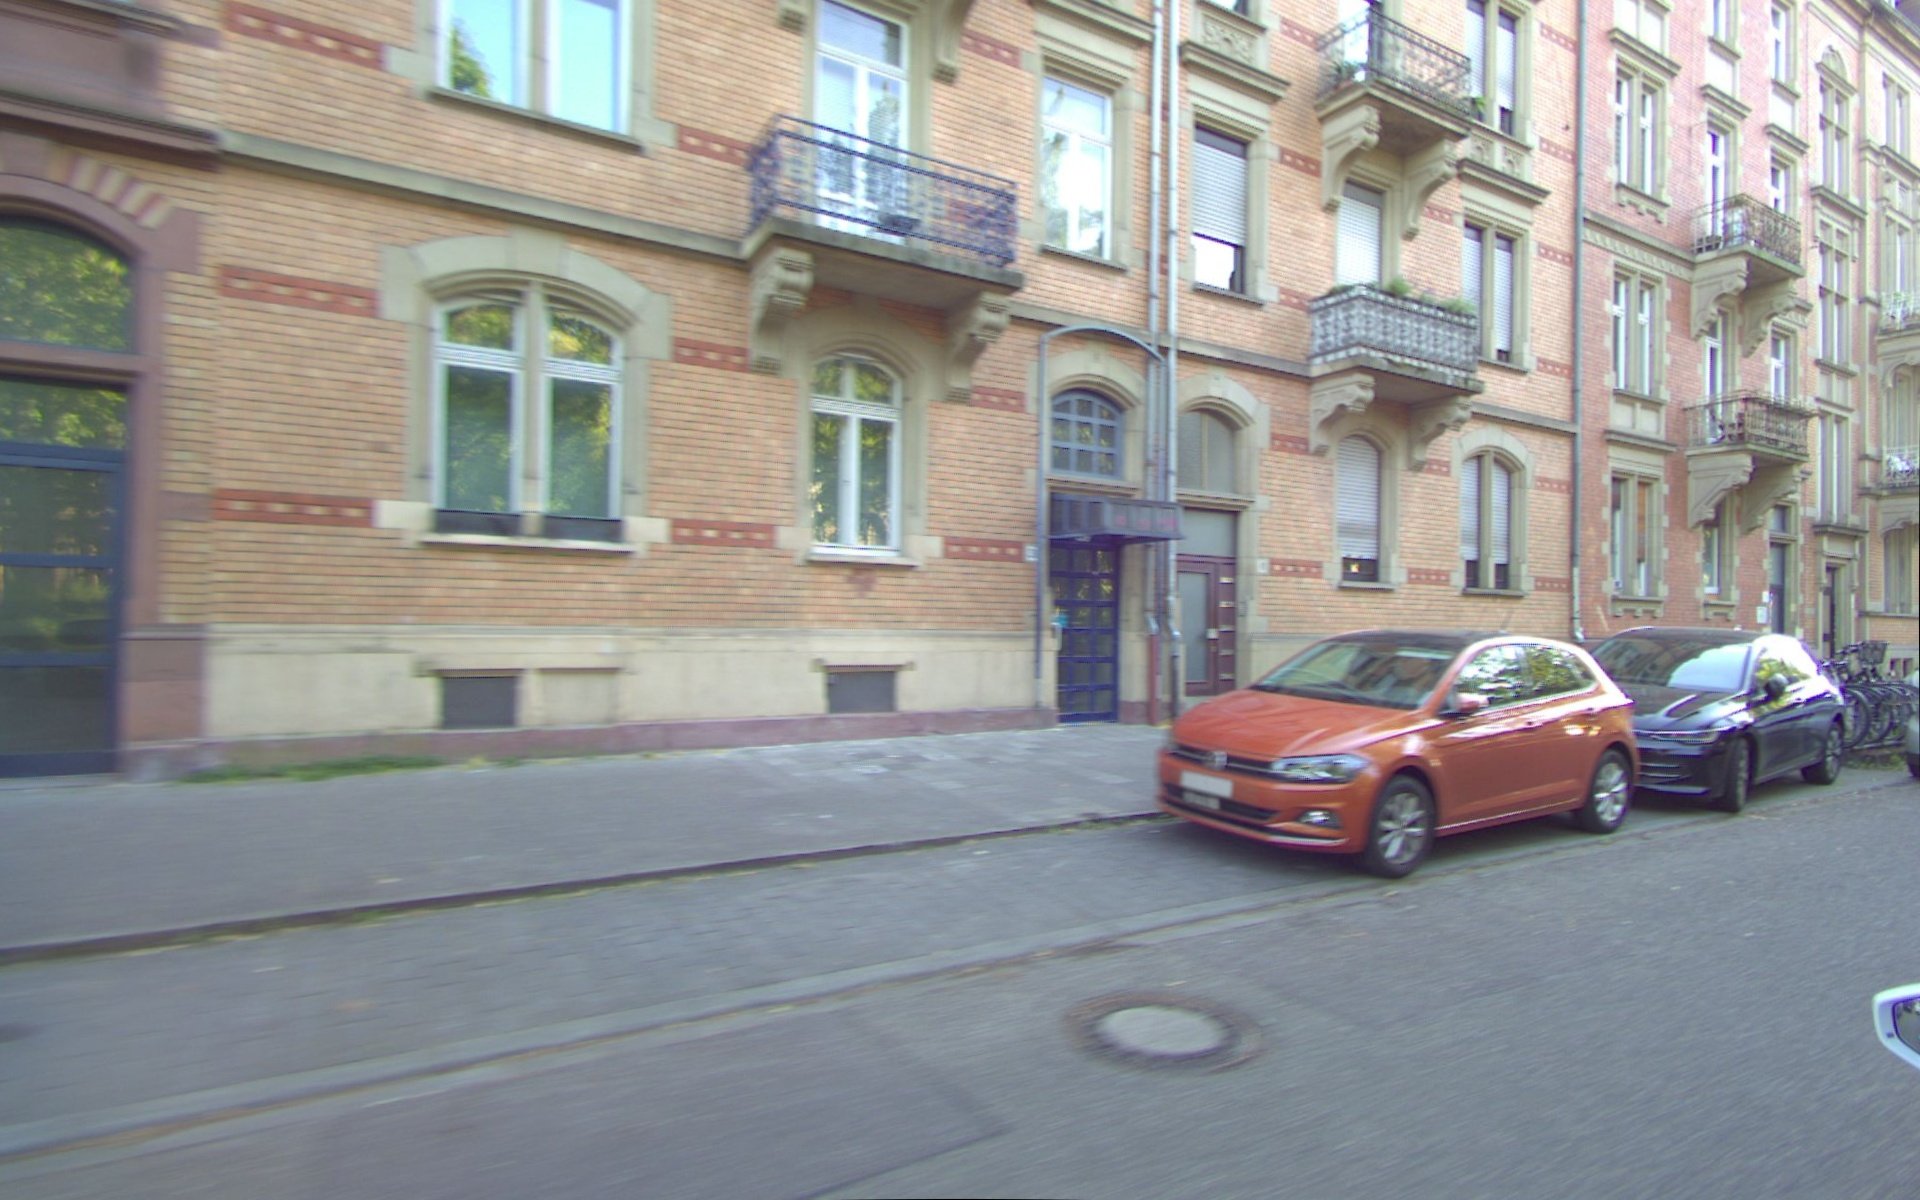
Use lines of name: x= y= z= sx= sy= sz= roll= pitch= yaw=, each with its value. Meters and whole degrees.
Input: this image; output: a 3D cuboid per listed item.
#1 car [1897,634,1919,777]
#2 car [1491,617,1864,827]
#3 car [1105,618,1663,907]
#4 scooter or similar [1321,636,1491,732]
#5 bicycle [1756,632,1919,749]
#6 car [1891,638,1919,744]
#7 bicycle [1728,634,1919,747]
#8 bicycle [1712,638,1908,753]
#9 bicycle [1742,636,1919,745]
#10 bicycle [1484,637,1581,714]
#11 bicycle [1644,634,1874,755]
car: x=11.251 y=1.082 z=10.314 sx=2.716 sy=1.454 sz=1.499 roll=1 pitch=-2 yaw=-26
car: x=6.994 y=1.007 z=9.654 sx=4.113 sy=1.567 sz=1.734 roll=2 pitch=0 yaw=-37
car: x=3.140 y=0.932 z=7.229 sx=3.956 sy=1.483 sz=1.743 roll=1 pitch=1 yaw=-33
scooter or similar: x=6.365 y=1.193 z=14.262 sx=2.673 sy=1.238 sz=0.779 roll=4 pitch=-1 yaw=-31
bicycle: x=11.505 y=1.136 z=13.038 sx=0.490 sy=1.365 sz=1.754 roll=3 pitch=-1 yaw=-30
car: x=15.469 y=1.297 z=14.616 sx=4.160 sy=1.473 sz=1.666 roll=1 pitch=-3 yaw=-30
bicycle: x=10.665 y=1.081 z=12.447 sx=0.459 sy=1.231 sz=1.754 roll=3 pitch=-1 yaw=-30
bicycle: x=10.235 y=1.115 z=12.169 sx=0.436 sy=1.231 sz=1.754 roll=3 pitch=-1 yaw=-30
bicycle: x=11.071 y=1.108 z=12.753 sx=0.423 sy=1.231 sz=1.754 roll=3 pitch=-1 yaw=-30
bicycle: x=9.007 y=1.194 z=15.783 sx=1.747 sy=1.145 sz=0.425 roll=3 pitch=-1 yaw=-28
bicycle: x=9.372 y=1.069 z=11.859 sx=2.067 sy=1.231 sz=0.439 roll=2 pitch=-1 yaw=45
